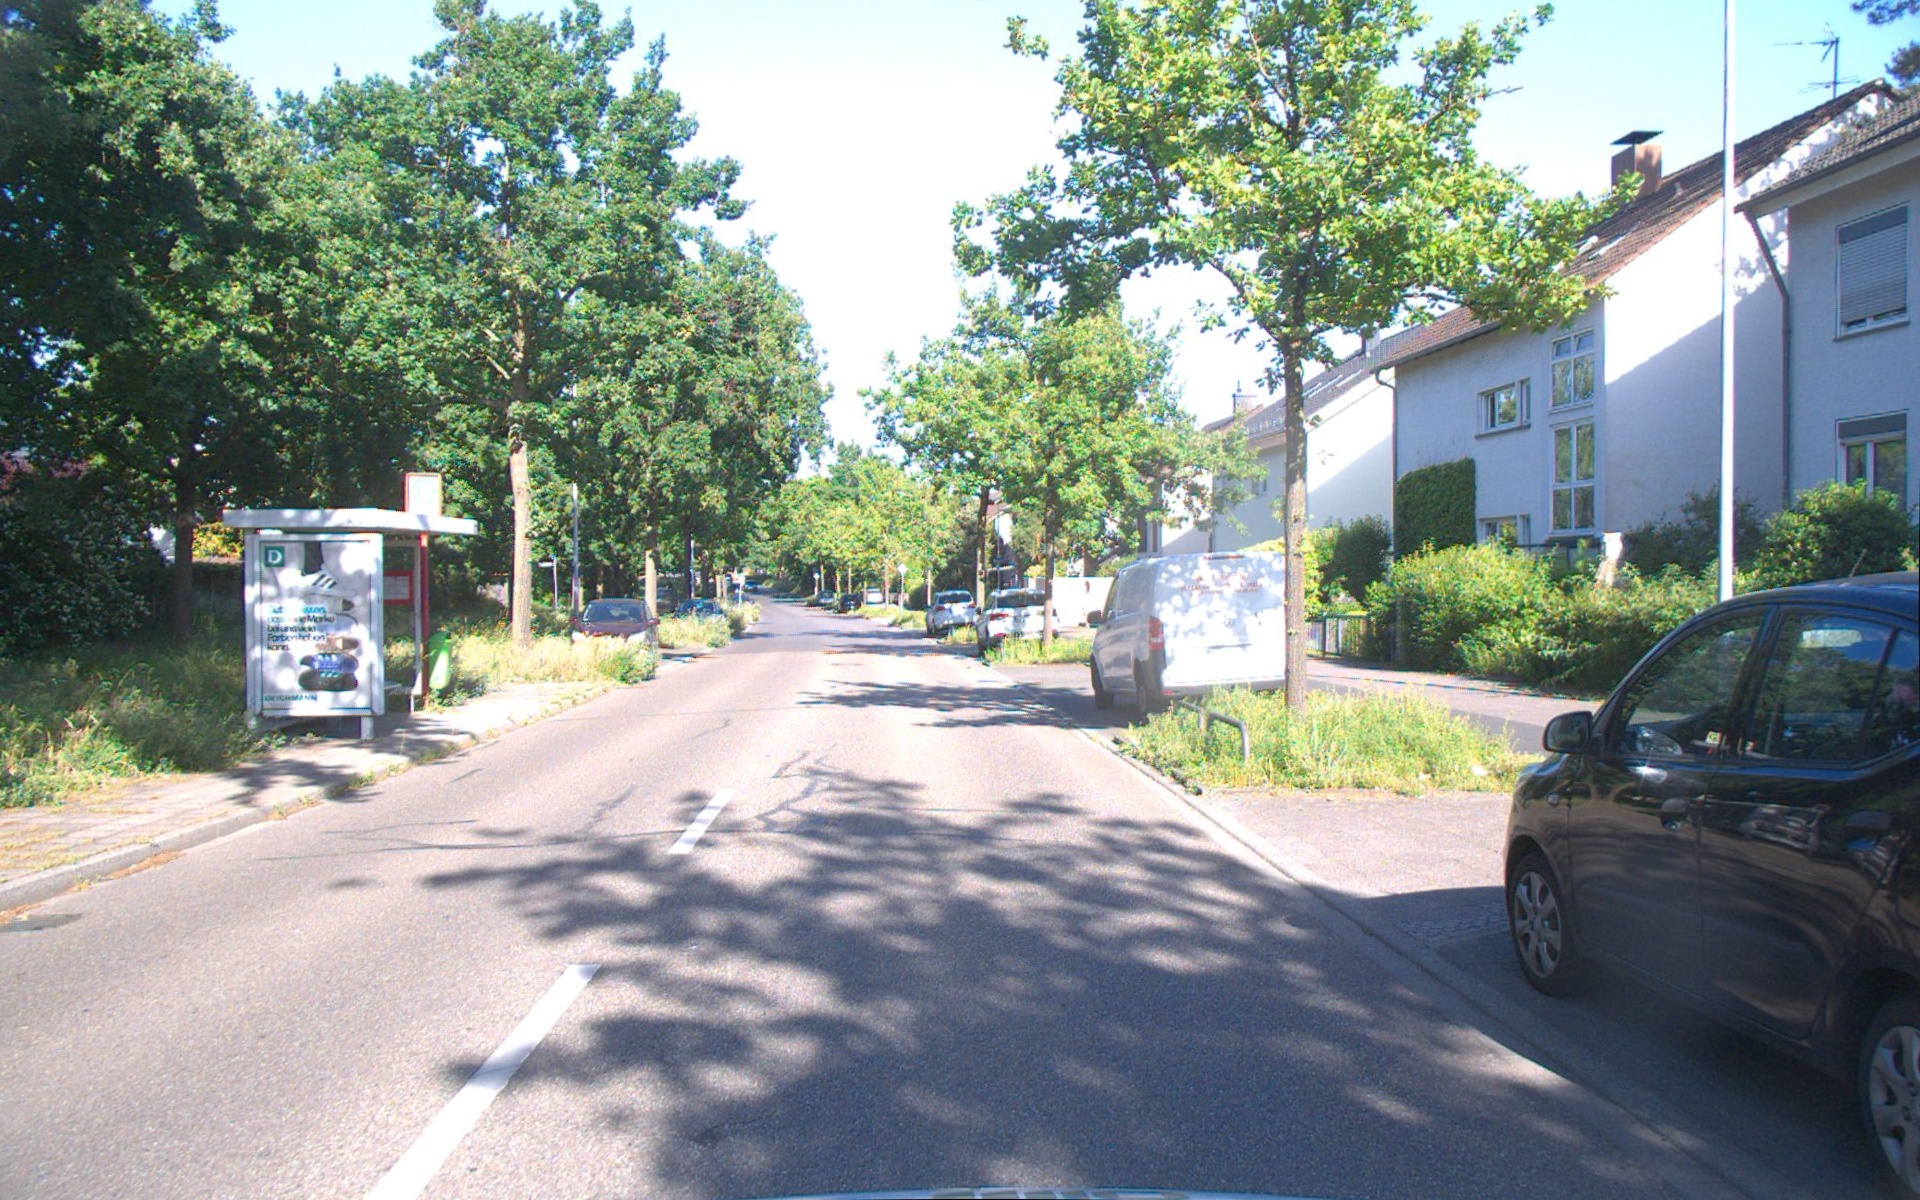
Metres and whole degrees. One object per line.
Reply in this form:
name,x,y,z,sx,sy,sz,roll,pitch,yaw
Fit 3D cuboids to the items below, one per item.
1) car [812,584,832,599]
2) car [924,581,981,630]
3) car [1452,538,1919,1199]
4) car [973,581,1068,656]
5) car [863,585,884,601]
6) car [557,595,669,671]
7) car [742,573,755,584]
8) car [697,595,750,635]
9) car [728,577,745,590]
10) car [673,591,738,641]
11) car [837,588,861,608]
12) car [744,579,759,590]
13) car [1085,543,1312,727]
car,-13.369,-0.839,160.097,1.896,1.479,3.996,-1,0,-5
car,-0.306,0.183,63.154,1.895,1.773,3.997,-1,0,-4
car,3.031,0.610,5.265,1.639,1.606,3.750,-2,1,-2
car,1.425,0.410,40.663,1.898,1.734,3.997,-1,0,-4
car,-8.291,-0.705,158.014,1.896,1.479,3.996,-1,0,-5
car,-7.353,0.652,35.358,1.898,1.505,3.995,-1,0,-6
car,-30.842,-3.123,241.094,1.721,1.479,3.996,-1,0,-5
car,-9.492,0.579,66.543,1.761,1.505,3.517,-1,0,-3
car,-27.116,-2.002,200.636,1.896,1.479,3.996,-1,0,-5
car,-8.359,0.506,54.590,1.955,1.584,3.995,0,0,-6
car,-8.838,-0.177,131.765,1.895,1.569,3.997,-1,0,-4
car,-28.403,-2.095,225.368,1.896,1.479,3.996,-1,0,-5
car,2.804,0.365,20.557,1.799,2.005,4.755,-1,0,-4
